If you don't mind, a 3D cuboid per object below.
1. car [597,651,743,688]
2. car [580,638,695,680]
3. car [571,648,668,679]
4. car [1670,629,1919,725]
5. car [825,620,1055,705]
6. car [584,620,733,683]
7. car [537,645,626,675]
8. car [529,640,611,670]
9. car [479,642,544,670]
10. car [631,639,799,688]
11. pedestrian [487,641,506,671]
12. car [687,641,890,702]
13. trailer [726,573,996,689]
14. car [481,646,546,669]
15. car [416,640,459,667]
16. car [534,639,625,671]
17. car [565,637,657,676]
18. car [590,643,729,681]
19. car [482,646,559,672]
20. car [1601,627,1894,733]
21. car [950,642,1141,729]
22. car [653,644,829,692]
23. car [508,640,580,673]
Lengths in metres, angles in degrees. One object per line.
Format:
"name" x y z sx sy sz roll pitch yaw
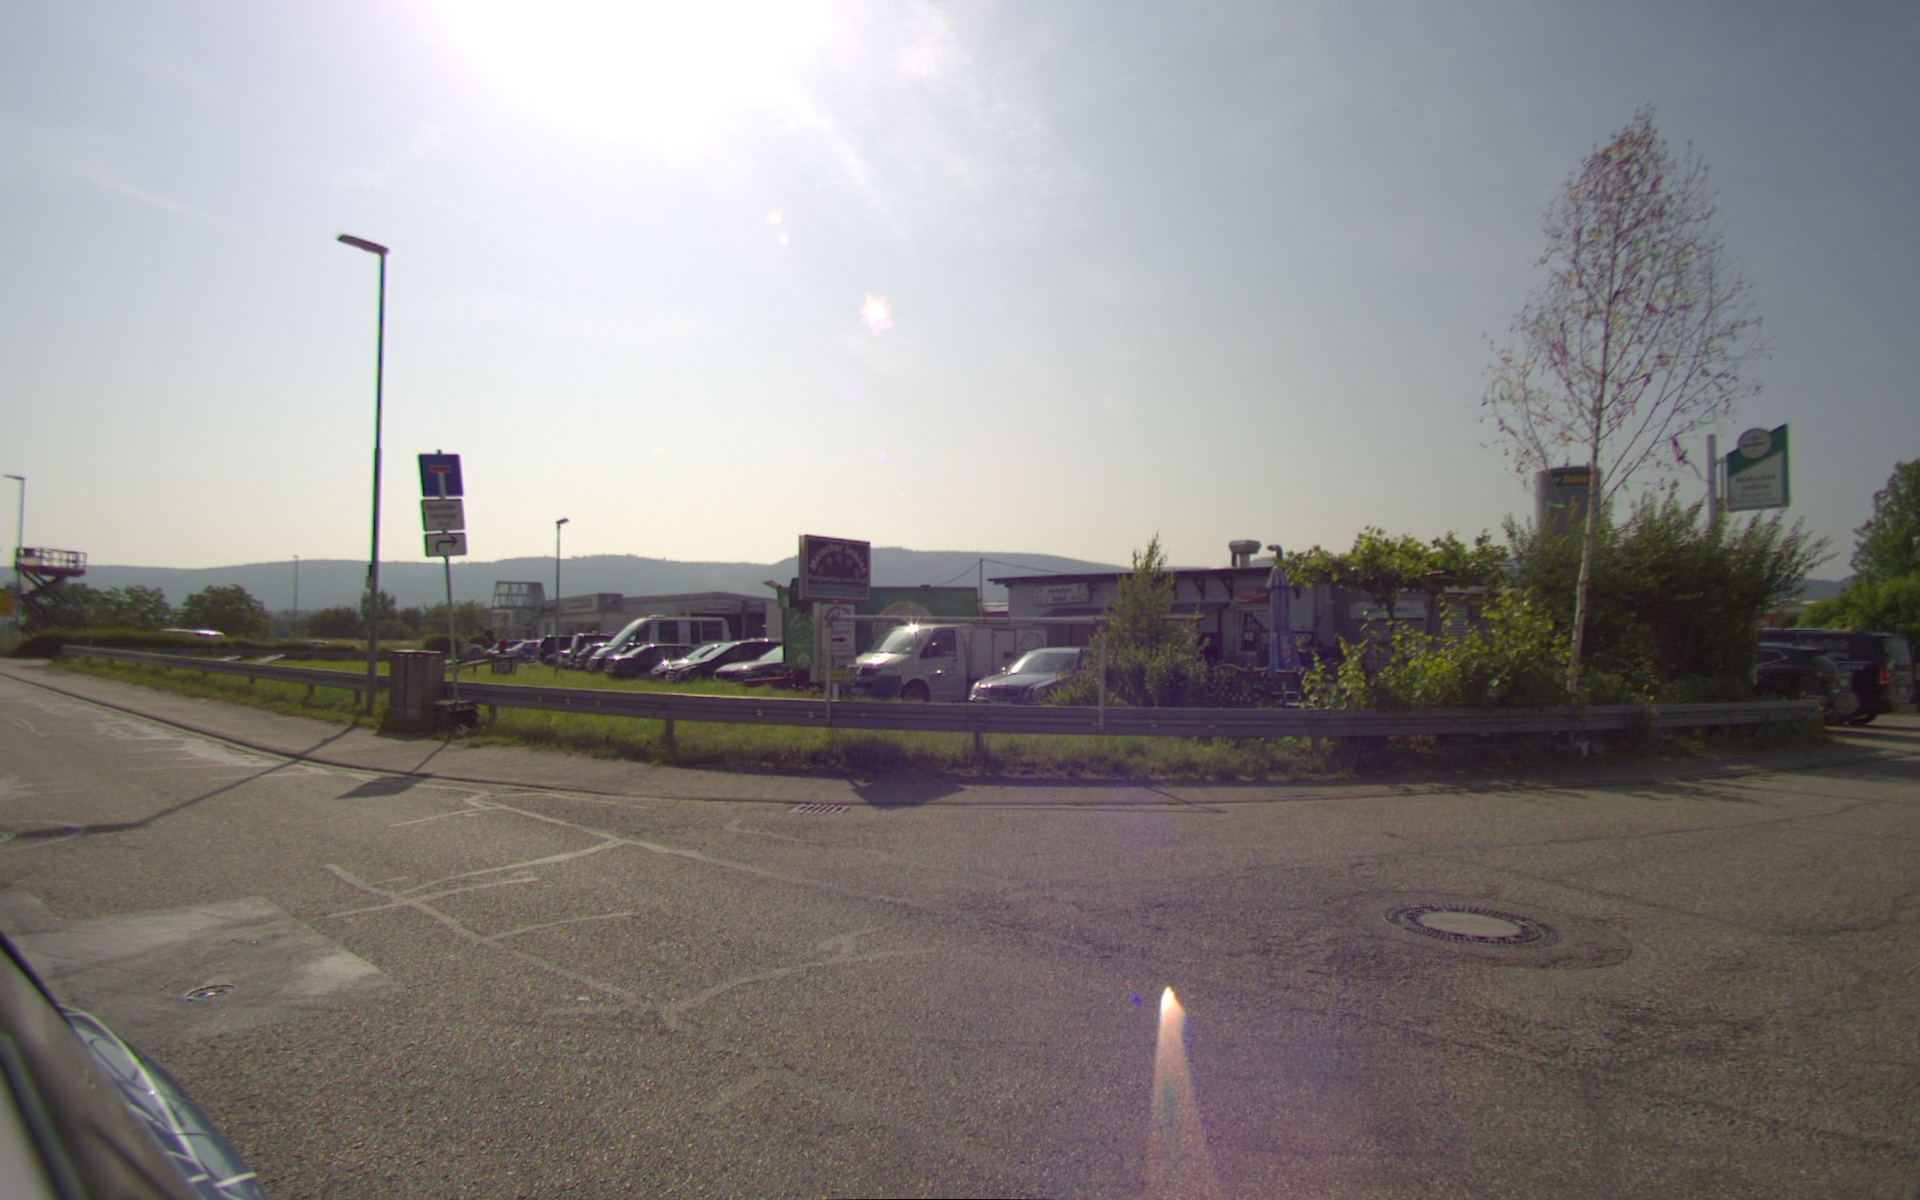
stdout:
"car" -10.157 2.453 35.588 4.616 1.228 1.836 3 -5 -30
"car" -13.646 2.542 42.947 4.328 1.676 1.812 3 -5 -30
"car" -15.094 2.829 44.923 3.695 1.318 1.811 3 -4 -35
"car" 17.440 1.516 20.998 1.967 1.785 4.009 2 -3 -36
"car" -0.330 1.426 22.934 5.198 1.719 2.002 4 -4 -42
"car" -12.133 2.151 40.781 5.314 2.391 2.300 3 -5 -30
"car" -18.266 2.898 48.923 3.695 1.399 1.733 3 -4 -35
"car" -20.528 2.900 53.318 3.628 1.533 1.688 3 -4 -38
"car" -31.690 3.976 71.499 4.026 1.887 1.822 2 -4 -26
"car" -8.123 2.145 33.728 5.055 1.546 2.031 3 -5 -30
"pedestrian" -28.060 3.369 61.252 0.827 1.767 0.994 0 -1 -42
"car" -4.670 1.971 27.831 5.055 1.546 2.184 3 -5 -30
"trailer" -2.422 0.889 25.809 6.222 2.625 2.861 3 -4 -35
"car" -29.386 3.772 66.560 3.605 1.475 1.768 3 -4 -35
"car" -40.593 4.152 78.597 1.969 2.029 4.163 4 -4 -41
"car" -19.265 2.816 51.287 3.935 1.533 1.688 3 -4 -38
"car" -16.253 2.657 47.177 3.695 1.764 1.753 3 -4 -35
"car" -11.327 2.377 38.285 4.684 1.365 1.927 3 -5 -30
"car" -27.684 3.714 63.742 4.089 1.547 1.887 3 -4 -37
"car" 14.882 1.439 19.331 1.967 1.785 4.009 2 -3 -36
"car" 1.861 1.628 20.332 1.956 1.521 4.787 -1 -3 31
"car" -6.563 2.072 30.539 4.882 1.328 1.784 3 -5 -30
"car" -25.468 3.429 61.946 3.712 1.809 1.937 0 0 -37
